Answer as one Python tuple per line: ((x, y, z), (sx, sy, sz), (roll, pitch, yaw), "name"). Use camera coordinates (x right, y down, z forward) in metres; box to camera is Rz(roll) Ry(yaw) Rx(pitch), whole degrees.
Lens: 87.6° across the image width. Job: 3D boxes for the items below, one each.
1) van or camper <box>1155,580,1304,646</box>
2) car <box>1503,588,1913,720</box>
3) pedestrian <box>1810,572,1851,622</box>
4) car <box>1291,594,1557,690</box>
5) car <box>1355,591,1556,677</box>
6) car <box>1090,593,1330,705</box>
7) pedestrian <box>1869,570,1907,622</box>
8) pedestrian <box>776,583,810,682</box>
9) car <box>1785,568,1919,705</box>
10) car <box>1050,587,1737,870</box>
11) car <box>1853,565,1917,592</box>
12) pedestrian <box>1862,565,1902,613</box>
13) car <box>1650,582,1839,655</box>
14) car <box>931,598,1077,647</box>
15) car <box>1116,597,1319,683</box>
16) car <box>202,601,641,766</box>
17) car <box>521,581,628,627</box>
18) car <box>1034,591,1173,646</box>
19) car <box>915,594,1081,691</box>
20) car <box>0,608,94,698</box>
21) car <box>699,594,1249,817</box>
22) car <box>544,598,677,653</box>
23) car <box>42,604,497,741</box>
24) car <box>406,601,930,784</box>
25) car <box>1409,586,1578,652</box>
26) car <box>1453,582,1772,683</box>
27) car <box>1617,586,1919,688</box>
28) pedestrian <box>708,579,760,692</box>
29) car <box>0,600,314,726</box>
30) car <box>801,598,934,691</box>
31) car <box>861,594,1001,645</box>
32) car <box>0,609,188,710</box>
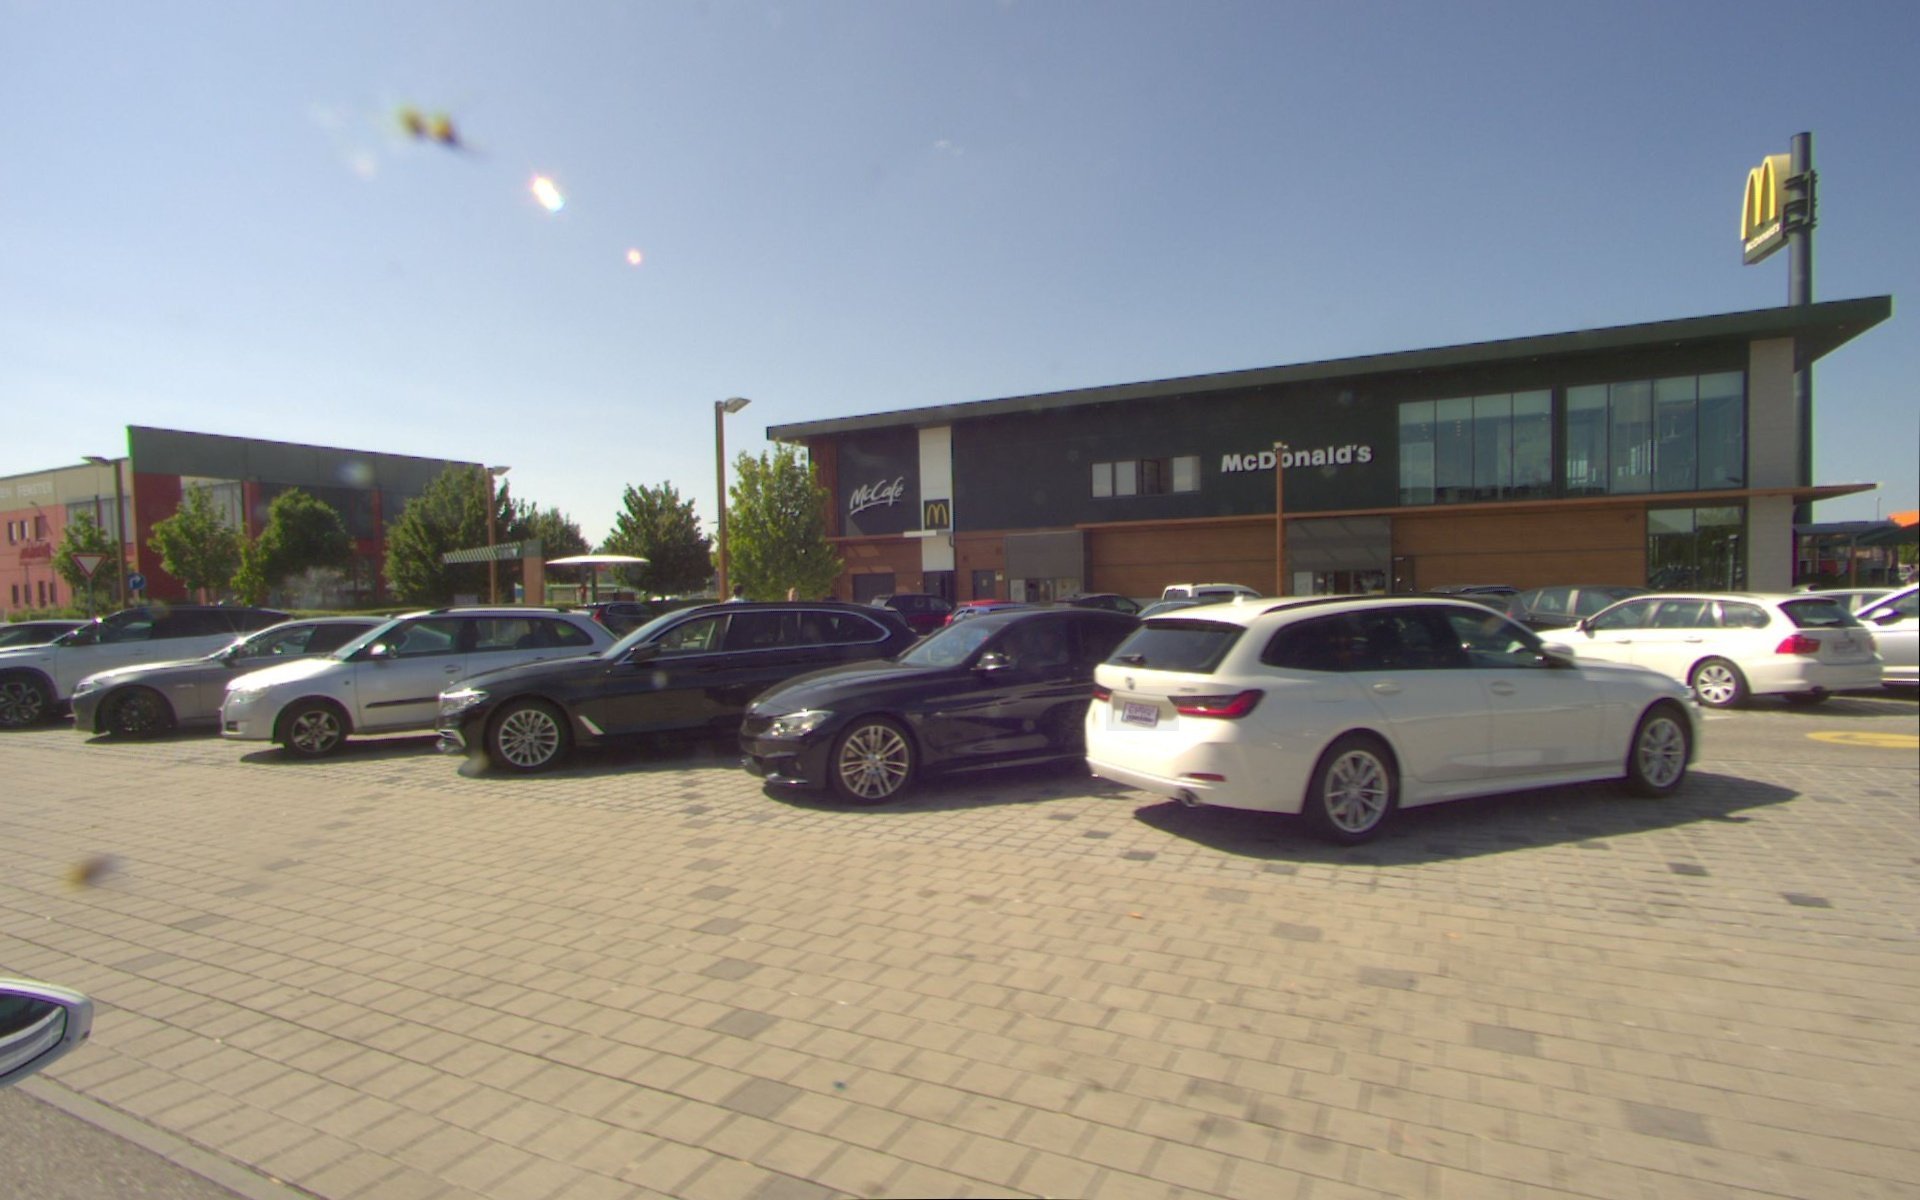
((7.891, 0.353, 29.334), (3.960, 1.799, 1.707), (-1, 0, -21), "van or camper")
((9.680, 0.613, 13.398), (1.782, 1.432, 4.104), (-1, 0, -19), "car")
((28.381, -0.095, 32.651), (0.708, 1.580, 0.701), (-1, 1, -2), "pedestrian")
((8.353, 0.681, 18.576), (1.862, 1.507, 4.635), (-1, 0, -17), "car")
((10.925, 0.733, 22.397), (3.891, 1.799, 1.649), (-1, 0, 22), "car")
((3.801, 0.689, 16.081), (1.781, 1.507, 4.272), (-1, 0, -17), "car")
((28.807, -0.120, 31.081), (0.691, 1.580, 0.719), (0, 1, 27), "pedestrian")
((-3.066, 0.592, 18.411), (0.460, 1.792, 0.550), (-1, 1, -26), "pedestrian")
((12.909, 0.430, 12.215), (1.781, 1.696, 4.106), (-1, 0, -17), "car")
((3.060, 0.680, 7.041), (4.509, 1.479, 1.831), (-1, 0, -23), "car")
((86.538, -1.992, 93.753), (3.934, 2.333, 1.994), (-1, 0, 24), "car")
((31.164, -0.367, 33.867), (0.708, 1.580, 0.701), (-1, 1, -2), "pedestrian")
((18.698, 0.408, 23.889), (3.966, 1.634, 1.713), (-1, 0, -19), "car")
((1.453, 0.694, 32.727), (4.399, 1.485, 1.954), (-1, 0, -27), "car")
((5.082, 0.724, 20.501), (1.862, 1.507, 4.635), (-1, 0, -17), "car")
((-6.075, 0.809, 11.605), (4.151, 1.546, 1.963), (-1, 0, -34), "car")
((-19.737, 0.192, 51.485), (1.969, 2.226, 5.085), (0, 0, 27), "car")
((4.405, 0.567, 30.720), (3.886, 1.534, 1.709), (-1, -1, -24), "car")
((0.558, 0.697, 18.436), (1.781, 1.535, 4.106), (-1, 0, -17), "car")
((-18.691, 0.961, 17.991), (4.258, 1.547, 1.970), (-1, 1, -19), "car")
((0.123, 0.719, 8.503), (4.298, 1.479, 1.830), (-1, 0, -23), "car")
((-11.796, 0.800, 34.093), (1.963, 1.714, 4.224), (0, 1, 22), "car")
((-8.926, 0.853, 13.574), (4.769, 1.546, 1.968), (-1, 0, -25), "car")
((-2.847, 0.794, 10.282), (4.703, 1.506, 1.970), (-1, 0, -21), "car")
((14.060, 0.469, 26.395), (3.966, 1.634, 1.713), (-1, 0, -19), "car")
((11.284, 0.508, 17.778), (1.862, 1.507, 4.635), (-1, 0, -17), "car")
((14.320, 0.552, 17.497), (1.862, 1.507, 4.635), (-1, 0, -17), "car")
((-3.863, 0.591, 17.167), (0.818, 1.874, 0.769), (-1, 1, -12), "pedestrian")
((-12.284, 0.862, 15.146), (4.149, 1.676, 1.964), (-1, 0, -32), "car")
((-1.865, 0.751, 18.947), (1.681, 1.513, 4.106), (-1, 0, -17), "car")
((-0.990, 0.620, 34.346), (4.395, 1.624, 1.955), (-1, 0, -24), "car")
((-15.445, 0.944, 16.354), (4.142, 1.546, 1.967), (-1, 0, -26), "car")
